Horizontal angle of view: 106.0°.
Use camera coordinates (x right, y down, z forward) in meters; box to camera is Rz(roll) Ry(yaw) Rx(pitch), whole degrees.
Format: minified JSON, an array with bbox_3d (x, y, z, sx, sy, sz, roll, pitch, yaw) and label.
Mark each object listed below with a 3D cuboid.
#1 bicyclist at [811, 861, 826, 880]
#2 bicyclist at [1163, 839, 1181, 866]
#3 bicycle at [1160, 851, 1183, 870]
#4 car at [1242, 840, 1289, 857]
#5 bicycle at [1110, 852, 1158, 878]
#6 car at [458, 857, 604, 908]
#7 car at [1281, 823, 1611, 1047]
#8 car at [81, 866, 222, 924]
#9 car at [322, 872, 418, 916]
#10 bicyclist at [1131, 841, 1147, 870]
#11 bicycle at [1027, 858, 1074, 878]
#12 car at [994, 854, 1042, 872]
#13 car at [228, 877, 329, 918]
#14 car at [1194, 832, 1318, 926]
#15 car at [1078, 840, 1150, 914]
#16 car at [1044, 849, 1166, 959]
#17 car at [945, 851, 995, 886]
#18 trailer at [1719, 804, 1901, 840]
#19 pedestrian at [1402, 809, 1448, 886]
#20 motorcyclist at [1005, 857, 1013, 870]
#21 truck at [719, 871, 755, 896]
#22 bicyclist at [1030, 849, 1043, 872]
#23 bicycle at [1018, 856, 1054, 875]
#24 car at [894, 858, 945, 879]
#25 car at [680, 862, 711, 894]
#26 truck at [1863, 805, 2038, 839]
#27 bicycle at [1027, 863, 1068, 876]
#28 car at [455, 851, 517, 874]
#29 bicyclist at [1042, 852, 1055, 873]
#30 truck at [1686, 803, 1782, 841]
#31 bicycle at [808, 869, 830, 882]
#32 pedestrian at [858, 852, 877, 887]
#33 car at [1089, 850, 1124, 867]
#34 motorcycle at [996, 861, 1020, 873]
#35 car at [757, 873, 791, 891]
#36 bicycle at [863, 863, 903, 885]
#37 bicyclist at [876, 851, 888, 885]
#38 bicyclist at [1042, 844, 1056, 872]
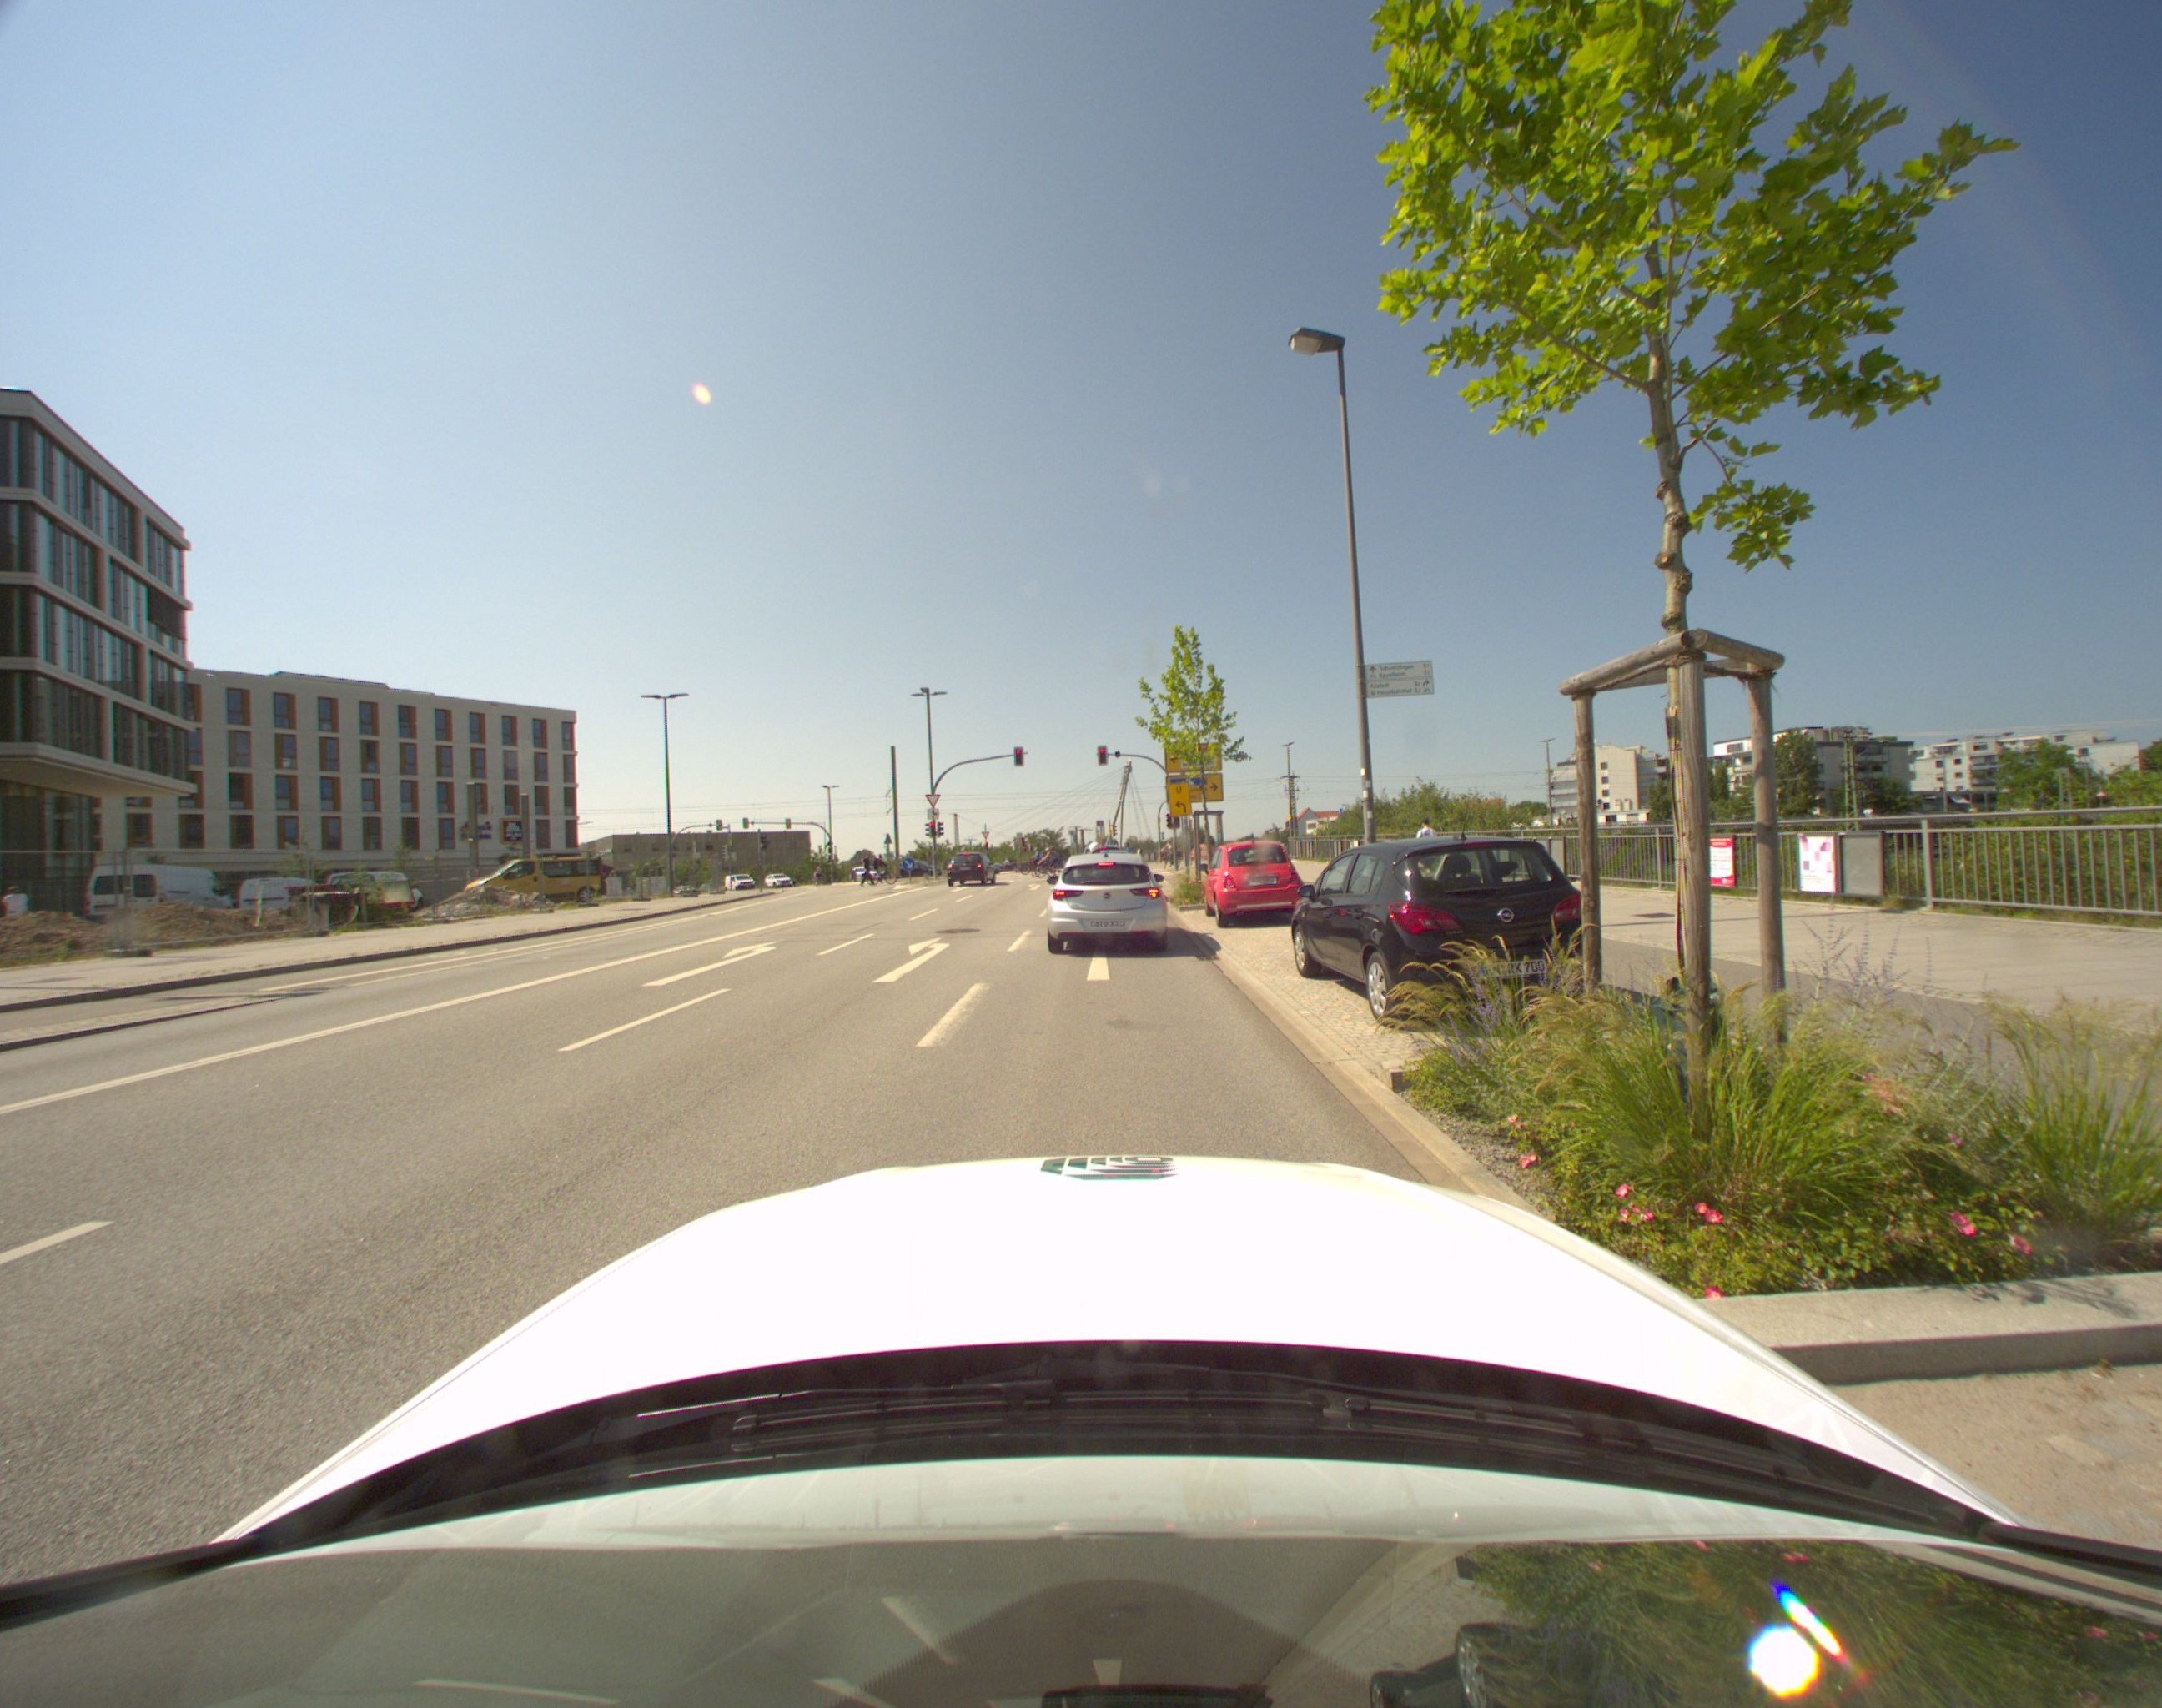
[{"bbox_3d":[-22.495,1.393,69.736,0.764,1.610,0.954,-1,-1,26],"label":"bicyclist"},{"bbox_3d":[5.415,-0.070,48.256,0.813,1.569,0.953,-1,-1,23],"label":"bicyclist"},{"bbox_3d":[5.363,0.374,48.081,0.669,1.127,2.378,-1,-1,23],"label":"bicycle"},{"bbox_3d":[18.805,-0.582,82.986,4.253,1.673,1.990,-1,0,-15],"label":"car"},{"bbox_3d":[2.962,0.601,45.065,2.512,1.133,0.729,-6,2,5],"label":"bicycle"},{"bbox_3d":[-22.113,1.089,32.888,1.974,1.890,4.514,-1,-1,40],"label":"car"},{"bbox_3d":[3.161,0.587,7.854,1.575,1.555,3.548,-5,0,2],"label":"car"},{"bbox_3d":[-35.763,1.499,31.512,2.220,2.056,4.134,0,-1,-28],"label":"car"},{"bbox_3d":[-30.552,1.649,35.164,2.005,1.707,4.521,0,-1,-26],"label":"car"},{"bbox_3d":[3.204,0.081,45.088,0.818,1.560,0.864,-1,-1,5],"label":"bicyclist"},{"bbox_3d":[-1.646,0.782,44.632,2.494,1.007,0.606,-2,0,2],"label":"bicycle"},{"bbox_3d":[-5.350,0.750,69.662,3.769,1.362,1.536,-3,0,7],"label":"car"},{"bbox_3d":[-33.011,1.738,33.650,1.809,1.508,3.965,0,-1,-26],"label":"car"},{"bbox_3d":[3.335,0.446,16.215,1.663,1.540,3.918,-4,-1,2],"label":"car"},{"bbox_3d":[0.802,0.547,20.426,1.628,1.674,3.746,0,-1,2],"label":"car"},{"bbox_3d":[0.414,0.702,13.630,1.684,1.520,4.272,-1,0,2],"label":"car"},{"bbox_3d":[-4.789,0.616,35.635,1.581,1.395,3.341,-2,-1,2],"label":"car"},{"bbox_3d":[68.941,-2.993,76.980,17.222,3.204,3.724,-1,-1,-14],"label":"trailer"},{"bbox_3d":[8.406,-0.159,19.947,0.755,1.830,0.885,-1,-1,2],"label":"pedestrian"},{"bbox_3d":[-7.969,1.053,89.901,0.806,1.476,0.885,-1,-1,2],"label":"motorcyclist"},{"bbox_3d":[-36.777,3.118,87.093,2.011,2.540,4.651,-1,0,-44],"label":"truck"},{"bbox_3d":[-2.963,0.446,54.005,0.715,1.504,0.825,-1,-1,2],"label":"bicyclist"},{"bbox_3d":[-2.993,0.760,53.991,2.309,1.133,0.637,-2,0,2],"label":"bicycle"},{"bbox_3d":[-13.515,1.209,68.404,3.722,1.583,1.820,-2,1,12],"label":"car"},{"bbox_3d":[-25.229,1.522,53.278,1.679,2.014,3.964,0,-1,-27],"label":"car"},{"bbox_3d":[87.208,-3.171,81.651,17.854,3.204,3.724,-1,-1,-14],"label":"truck"},{"bbox_3d":[-1.868,0.874,45.564,2.237,0.692,0.516,-2,0,2],"label":"bicycle"},{"bbox_3d":[-53.234,0.759,72.959,3.989,2.014,1.992,-1,-1,-12],"label":"car"},{"bbox_3d":[-1.836,0.470,45.574,0.654,1.175,0.731,-1,-1,3],"label":"bicyclist"},{"bbox_3d":[59.897,-2.898,74.792,6.477,3.204,3.722,-1,-1,-13],"label":"truck"},{"bbox_3d":[-22.434,1.848,69.705,1.849,1.068,0.581,-1,-1,25],"label":"bicycle"},{"bbox_3d":[-11.497,0.847,43.826,0.736,1.863,0.755,-1,-1,8],"label":"pedestrian"},{"bbox_3d":[2.568,0.501,82.335,3.374,1.655,1.645,-1,-1,-4],"label":"car"},{"bbox_3d":[-8.083,1.454,89.927,2.527,1.233,0.648,-1,-1,1],"label":"motorcycle"},{"bbox_3d":[-33.087,2.980,87.775,3.996,1.815,1.943,-1,0,45],"label":"car"},{"bbox_3d":[-10.987,1.089,45.196,2.082,1.178,0.553,-1,-1,-11],"label":"bicycle"},{"bbox_3d":[-11.042,0.787,45.189,0.594,1.887,0.634,0,-1,-11],"label":"bicyclist"},{"bbox_3d":[-1.738,0.207,44.643,0.654,1.502,0.844,-1,-1,3],"label":"bicyclist"}]
